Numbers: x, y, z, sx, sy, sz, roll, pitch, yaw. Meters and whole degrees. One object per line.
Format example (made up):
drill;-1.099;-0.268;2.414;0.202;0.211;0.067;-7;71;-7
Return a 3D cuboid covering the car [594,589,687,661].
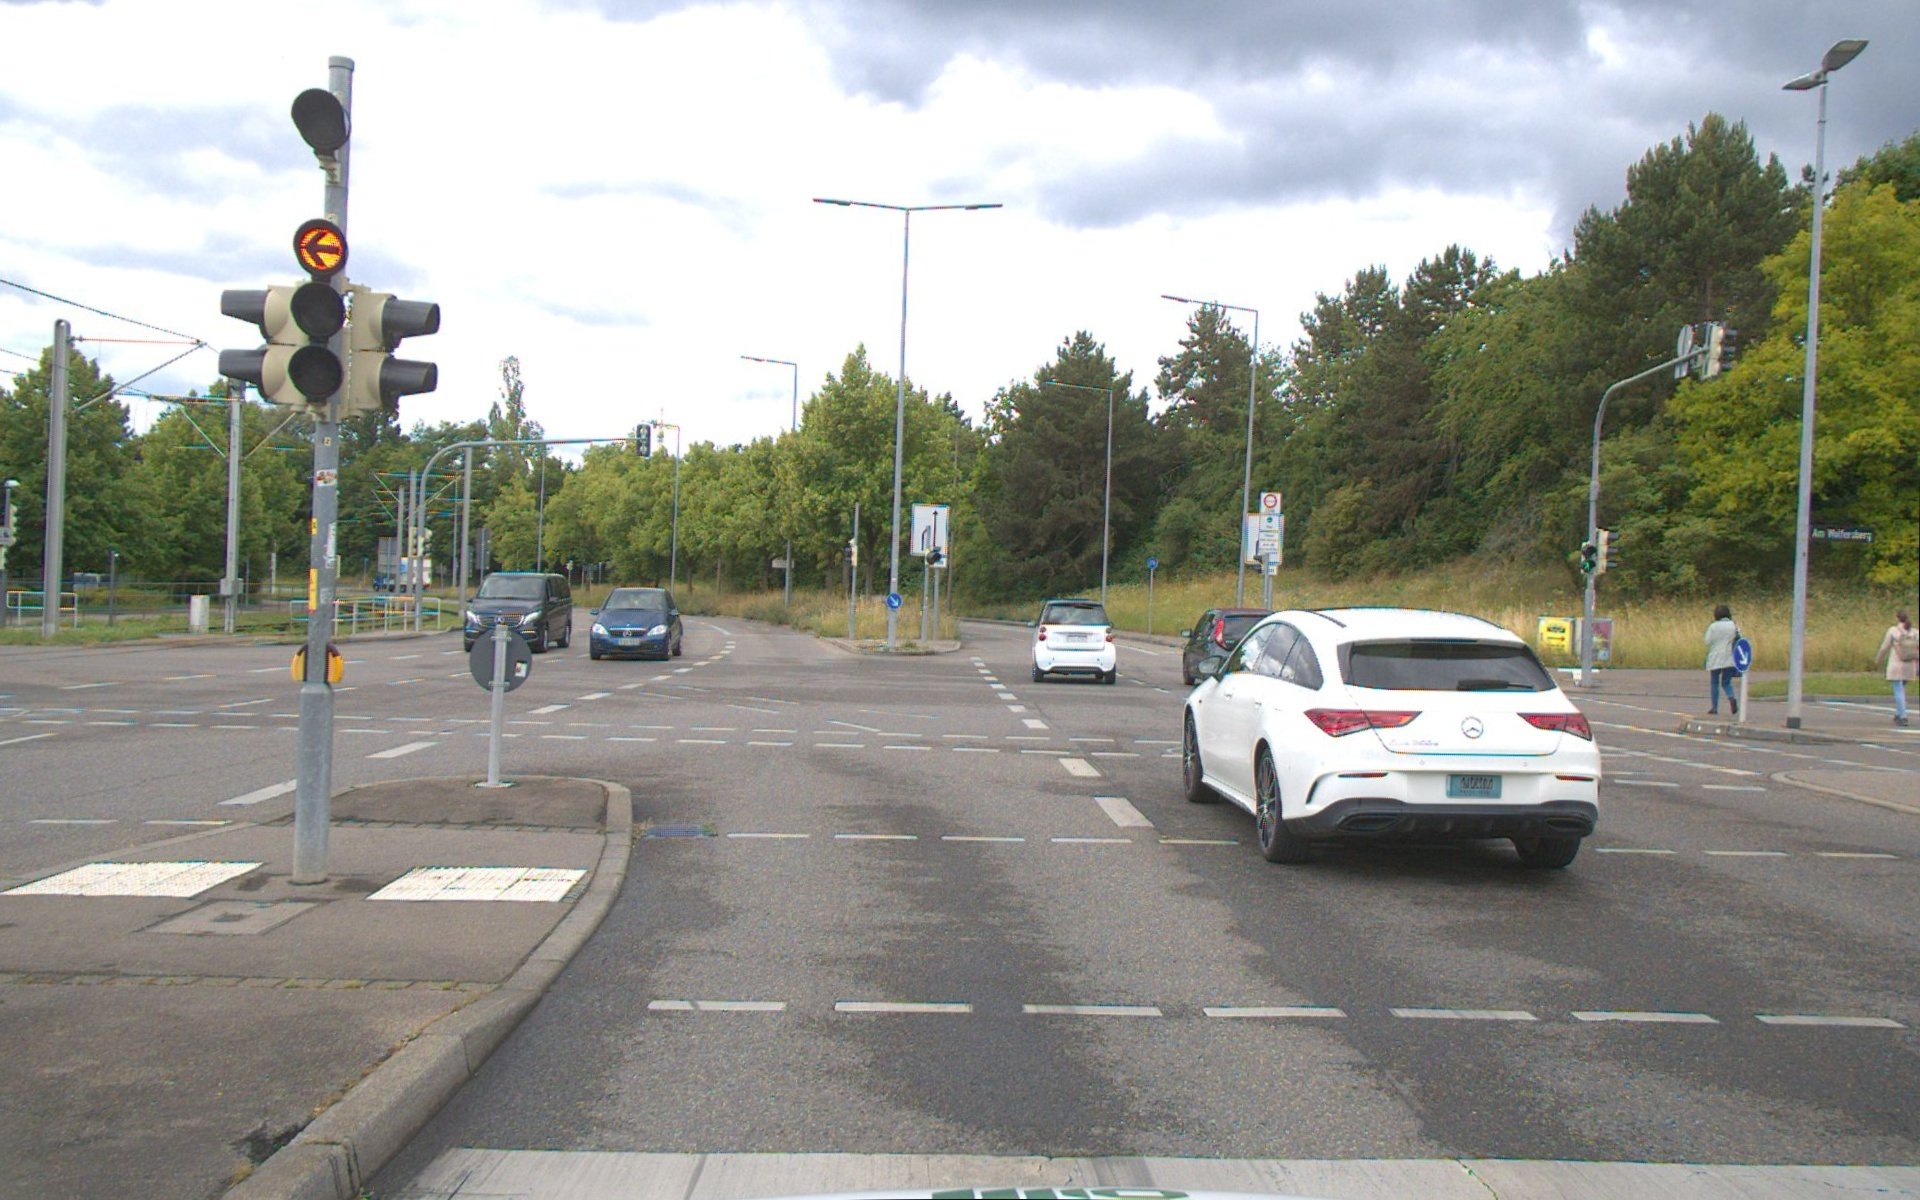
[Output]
car;-7.274;0.551;37.921;1.702;1.535;3.656;1;0;-5

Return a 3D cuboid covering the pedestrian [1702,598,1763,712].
pedestrian;11.771;0.828;25.213;0.630;1.691;0.714;1;-1;6

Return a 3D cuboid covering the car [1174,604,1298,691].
car;5.025;0.840;30.571;1.580;1.479;3.881;1;0;-1

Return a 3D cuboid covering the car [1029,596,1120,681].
car;2.181;0.723;31.998;1.559;1.543;2.766;1;0;0

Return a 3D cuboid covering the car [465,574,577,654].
car;-10.739;0.309;40.819;1.851;1.844;5.086;0;0;-5

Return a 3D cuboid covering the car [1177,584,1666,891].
car;2.654;0.715;10.689;1.807;1.533;4.529;1;0;-1

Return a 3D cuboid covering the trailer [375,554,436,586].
trailer;-54.754;-2.915;163.295;5.964;3.065;2.746;1;-1;35

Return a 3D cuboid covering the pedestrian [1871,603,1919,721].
pedestrian;13.433;0.874;23.485;0.630;1.640;0.714;1;-1;5
